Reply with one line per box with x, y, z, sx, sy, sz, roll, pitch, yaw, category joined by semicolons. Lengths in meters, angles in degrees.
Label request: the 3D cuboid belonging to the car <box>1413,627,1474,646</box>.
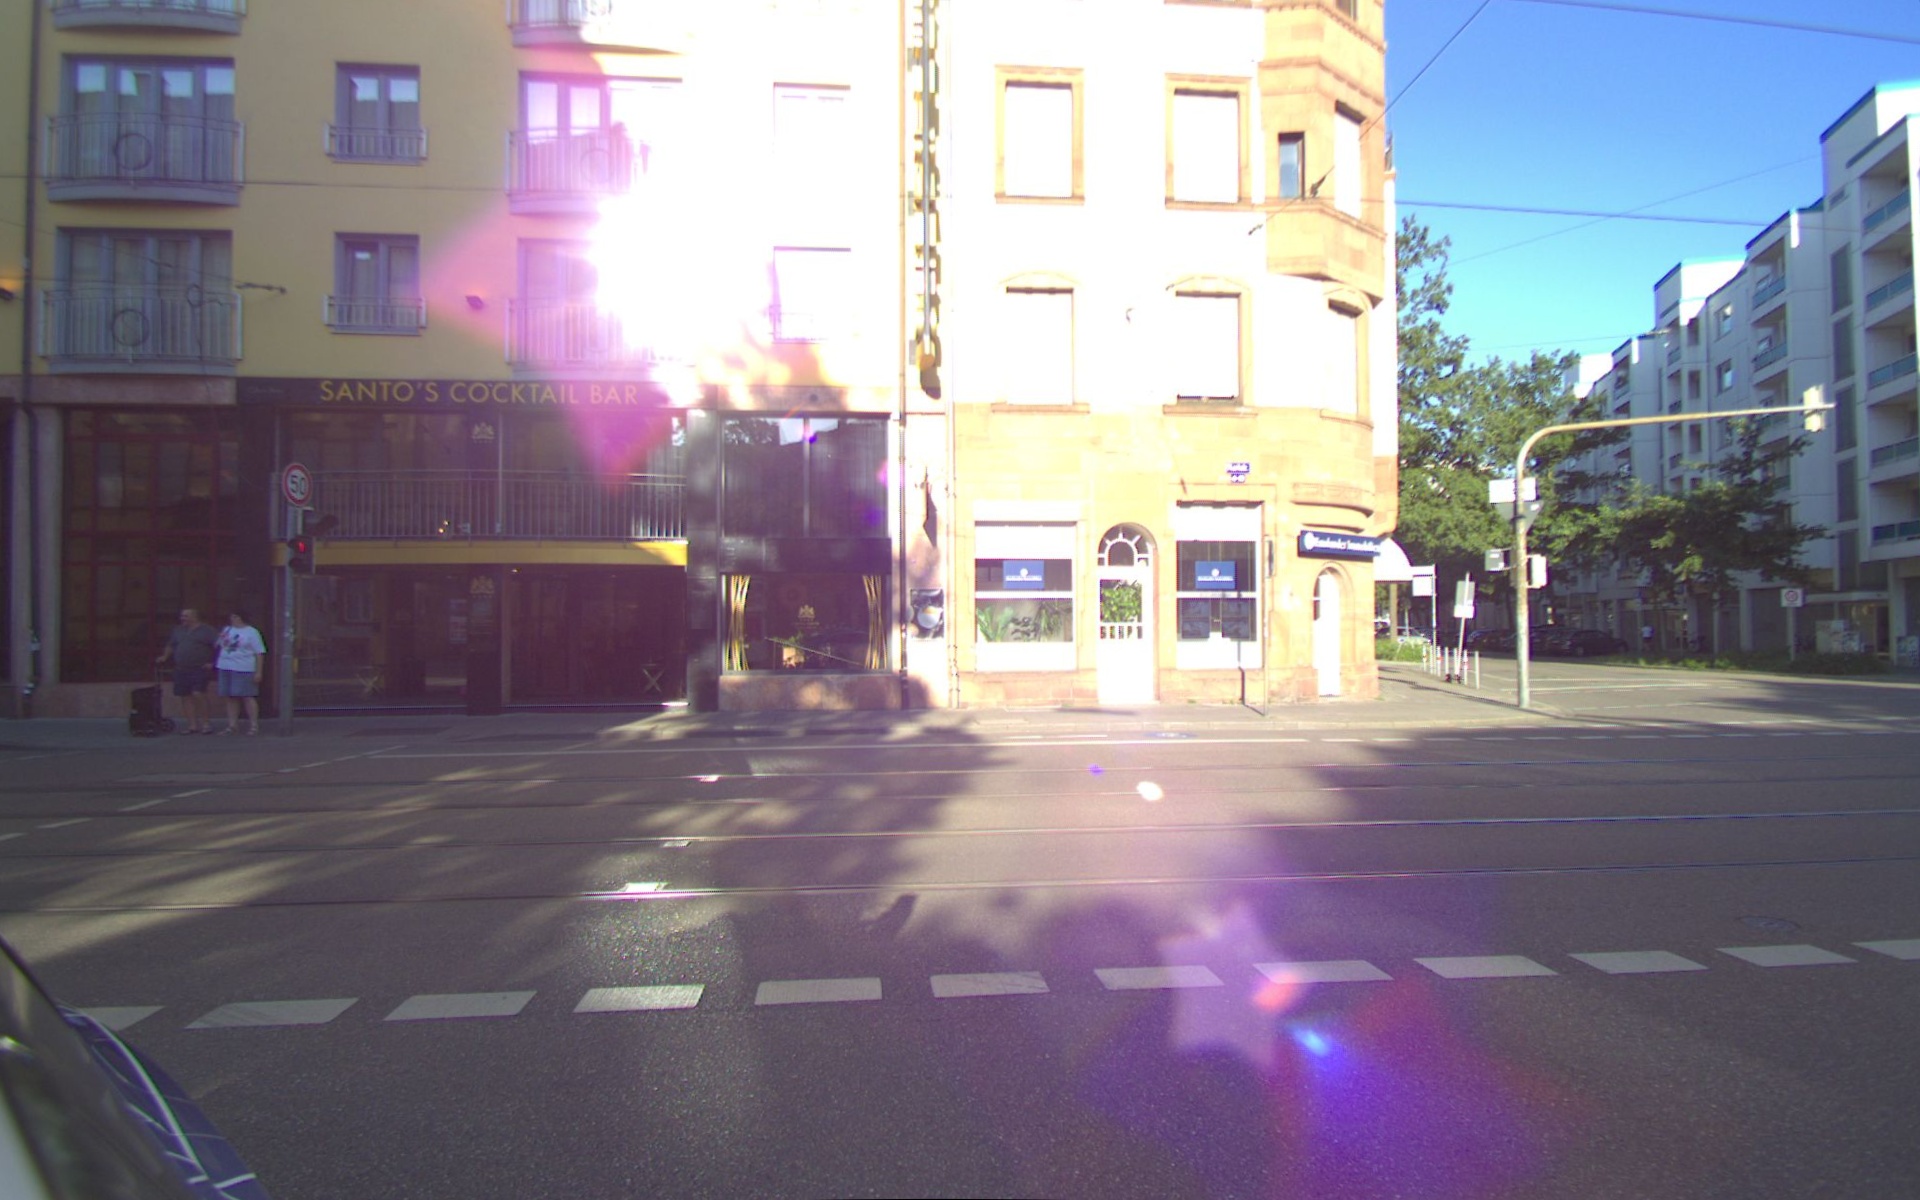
40.585;3.067;85.059;4.259;1.597;1.993;-1;-2;12;car

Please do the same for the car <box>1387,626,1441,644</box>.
42.548;3.267;94.902;4.259;1.597;1.993;-1;-2;12;car

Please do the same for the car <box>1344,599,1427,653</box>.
26.828;1.653;64.197;3.292;3.203;8.051;-1;-2;12;car

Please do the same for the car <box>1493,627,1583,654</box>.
35.177;2.475;61.696;4.257;1.597;1.994;-1;-2;10;car

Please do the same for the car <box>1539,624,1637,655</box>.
33.673;2.116;54.379;3.956;1.597;1.994;-1;-2;10;car

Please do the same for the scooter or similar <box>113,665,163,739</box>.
-11.488;1.421;14.148;0.351;0.984;0.424;0;2;-7;scooter or similar

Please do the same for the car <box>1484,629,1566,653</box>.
37.529;2.718;67.345;4.259;1.597;1.993;-1;-2;12;car

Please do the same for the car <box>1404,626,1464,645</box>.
41.088;3.100;87.846;4.259;1.597;1.993;-1;-2;12;car

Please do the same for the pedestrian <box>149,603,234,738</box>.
-10.984;0.982;14.487;0.668;1.854;0.728;0;2;-5;pedestrian

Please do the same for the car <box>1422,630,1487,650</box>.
39.861;3.244;81.711;4.259;1.597;1.993;-1;-2;12;car

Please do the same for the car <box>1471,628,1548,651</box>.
38.248;2.730;70.540;4.259;1.597;1.993;-1;-2;12;car

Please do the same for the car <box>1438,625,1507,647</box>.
39.339;2.764;77.749;4.259;1.597;1.993;-1;-2;12;car

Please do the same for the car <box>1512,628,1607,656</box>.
35.032;2.462;59.259;4.257;1.597;1.994;-1;-2;10;car

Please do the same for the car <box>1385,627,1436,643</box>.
44.275;3.432;99.572;4.259;1.597;1.993;-1;-2;12;car

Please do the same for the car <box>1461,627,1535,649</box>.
38.717;2.740;72.899;4.259;1.597;1.993;-1;-2;12;car

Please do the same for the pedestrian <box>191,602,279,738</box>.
-10.236;0.968;14.313;0.724;1.854;0.728;0;2;-5;pedestrian

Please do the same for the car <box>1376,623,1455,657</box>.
24.701;2.165;55.006;1.968;1.763;4.008;0;-2;-10;car

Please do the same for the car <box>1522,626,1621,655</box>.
34.258;2.282;56.806;4.257;1.597;1.994;-1;-2;10;car
